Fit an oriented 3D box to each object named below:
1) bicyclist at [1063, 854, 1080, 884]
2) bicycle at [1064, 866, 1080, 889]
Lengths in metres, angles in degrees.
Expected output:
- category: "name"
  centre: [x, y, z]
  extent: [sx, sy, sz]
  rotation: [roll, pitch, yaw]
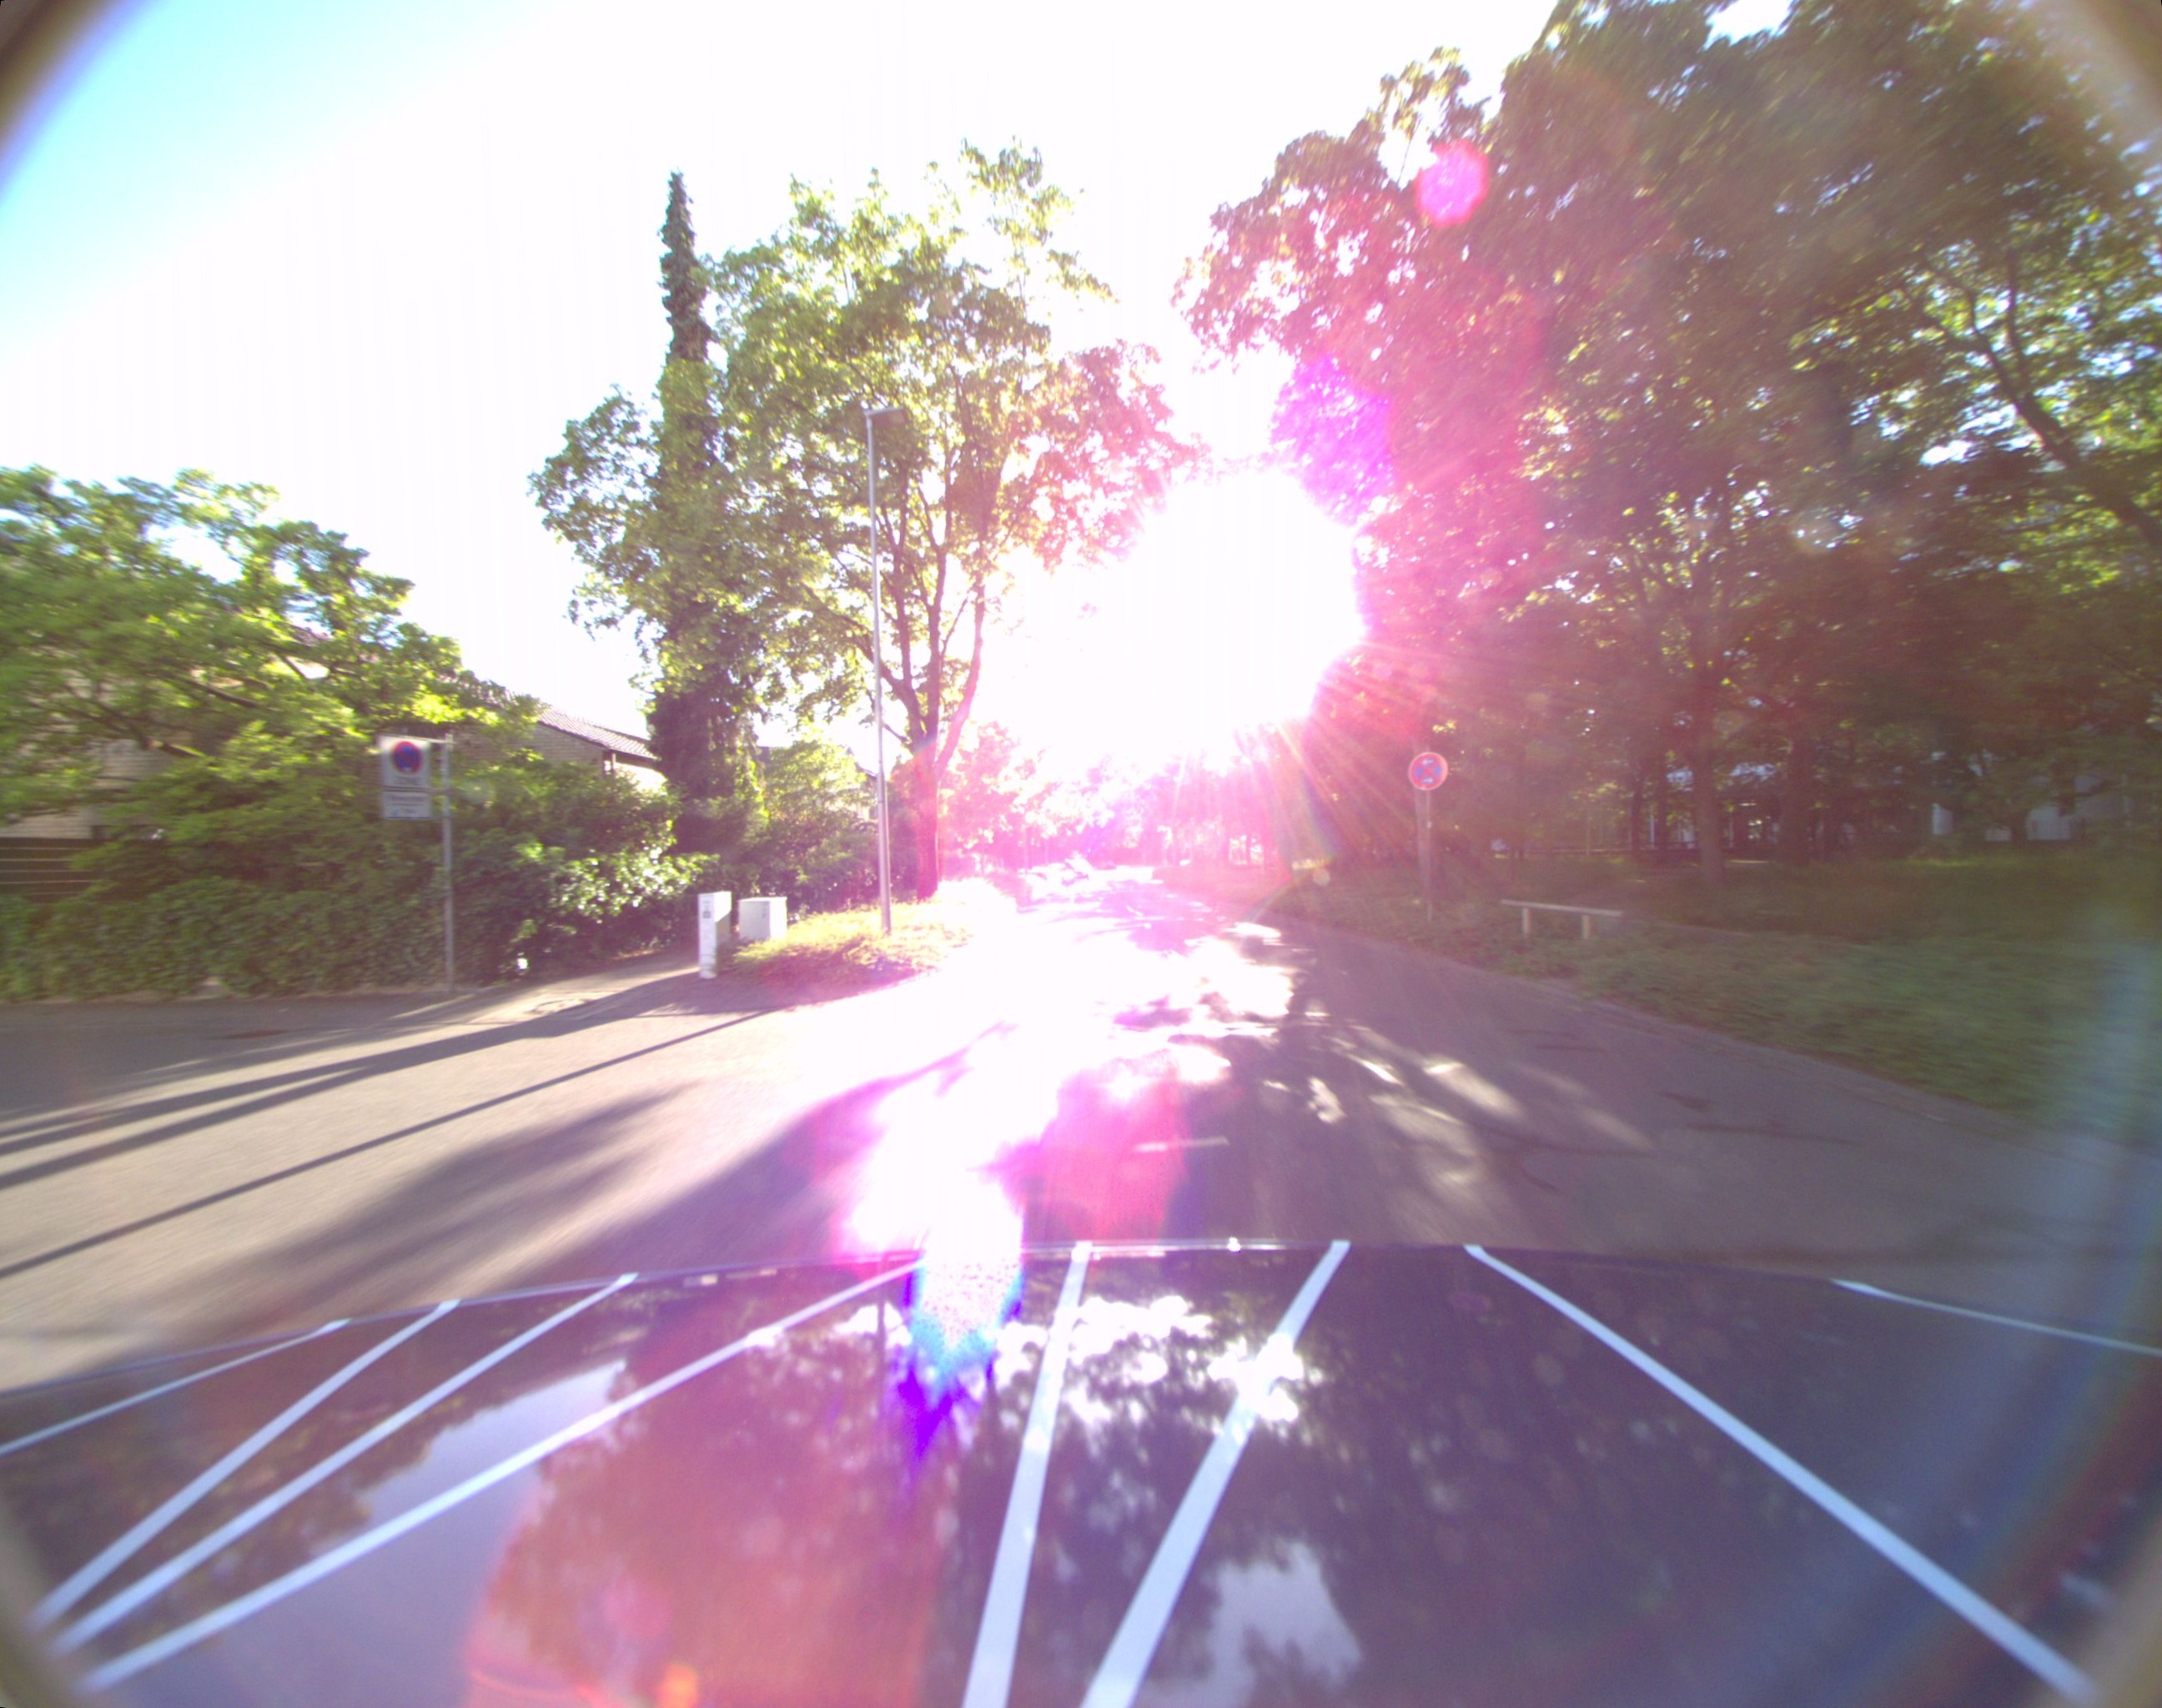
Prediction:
- category: "bicyclist"
  centre: [-0.516, 0.814, 41.592]
  extent: [0.819, 1.634, 0.744]
  rotation: [-3, 0, -1]
- category: "bicycle"
  centre: [-0.504, 1.268, 41.618]
  extent: [0.829, 1.182, 2.302]
  rotation: [-2, 0, -1]
